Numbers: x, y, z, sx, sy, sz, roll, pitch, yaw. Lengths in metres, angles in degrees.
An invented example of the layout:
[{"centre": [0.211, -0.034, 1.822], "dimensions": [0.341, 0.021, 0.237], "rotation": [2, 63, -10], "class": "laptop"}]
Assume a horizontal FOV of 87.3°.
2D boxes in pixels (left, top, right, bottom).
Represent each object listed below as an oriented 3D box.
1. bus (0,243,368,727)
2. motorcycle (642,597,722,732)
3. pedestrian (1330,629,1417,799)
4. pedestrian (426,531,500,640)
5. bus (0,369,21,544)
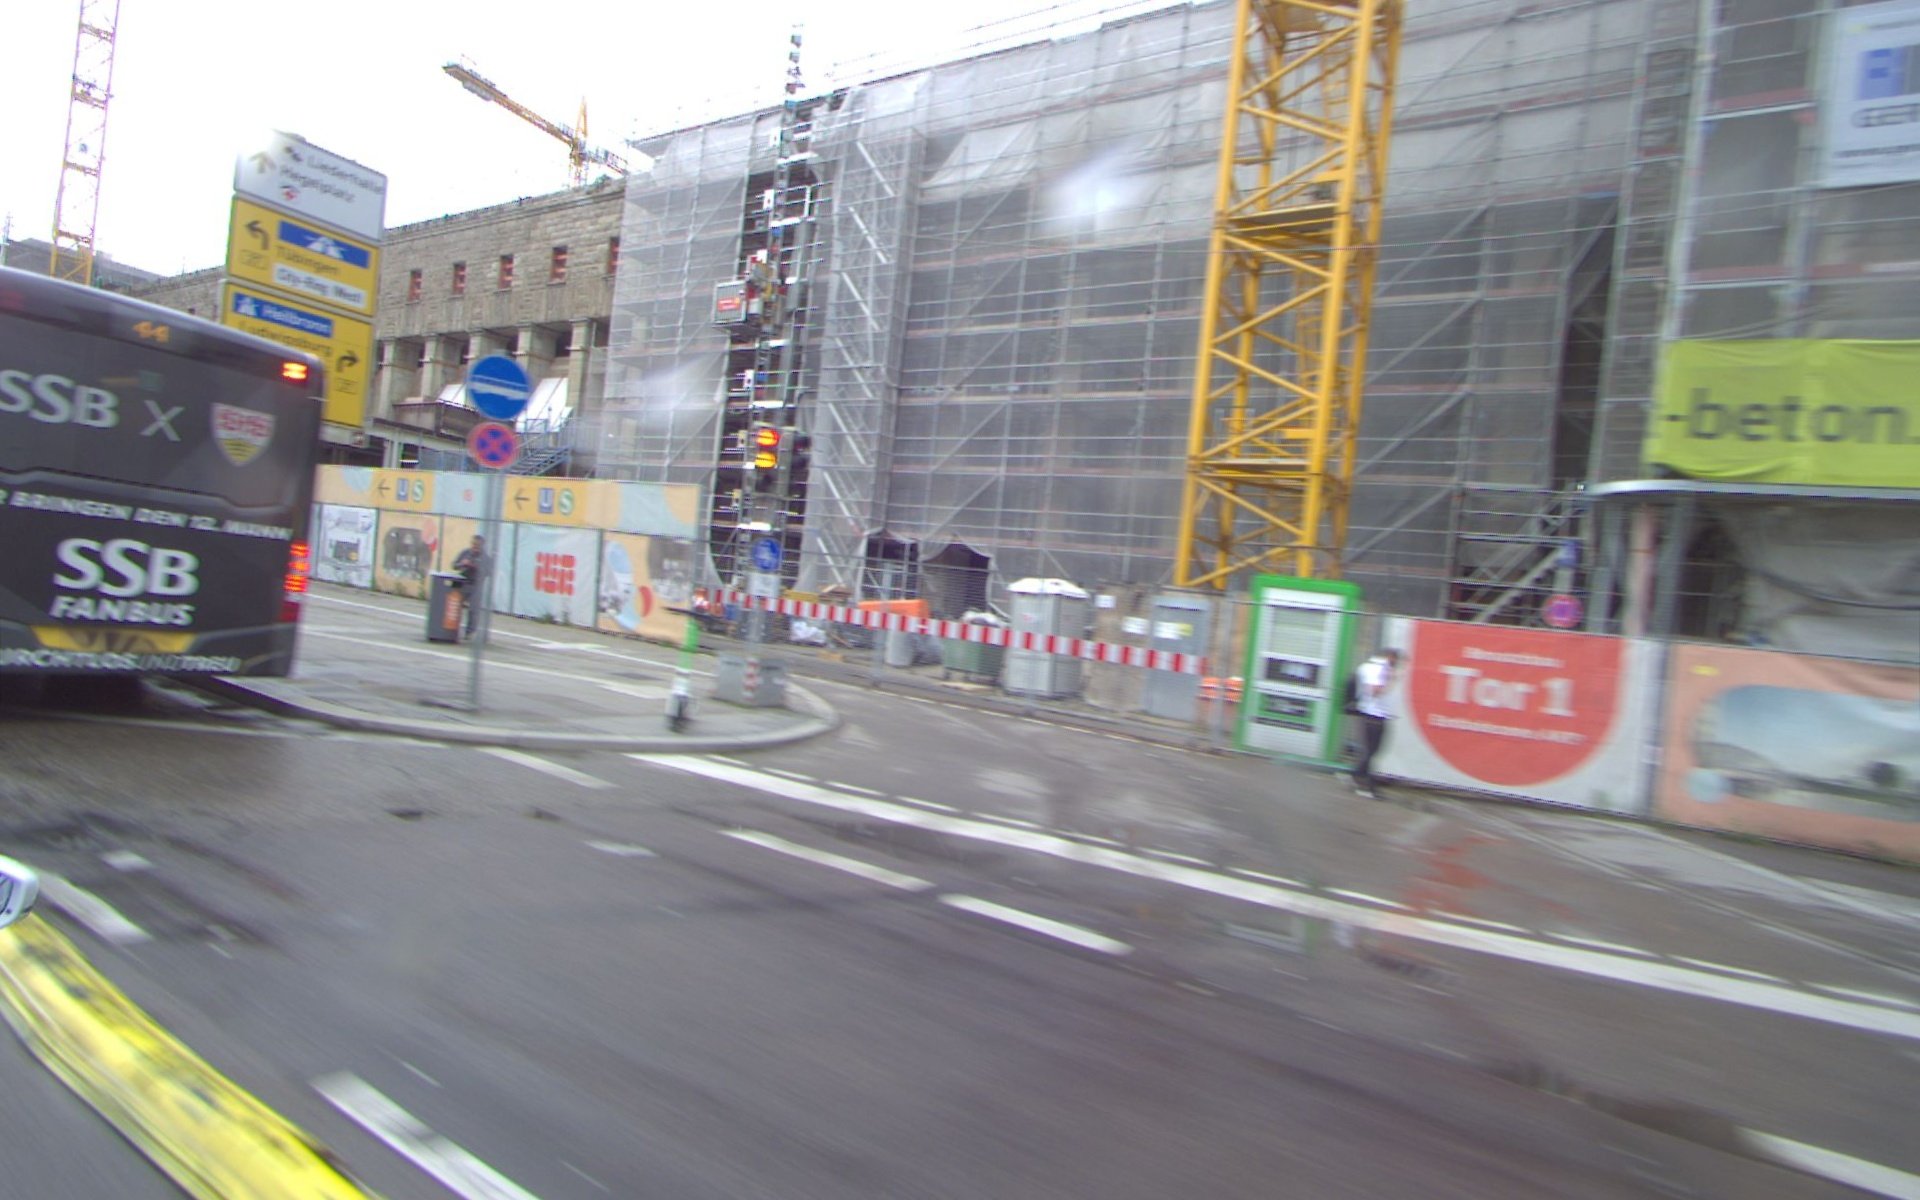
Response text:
[{"centre": [-9.531, -1.089, 9.607], "dimensions": [8.932, 3.105, 2.759], "rotation": [7, -1, 33], "class": "bus"}, {"centre": [-2.856, 0.612, 10.242], "dimensions": [0.578, 1.180, 1.611], "rotation": [7, -1, -18], "class": "motorcycle"}, {"centre": [4.861, 1.307, 11.819], "dimensions": [0.648, 1.873, 0.644], "rotation": [8, 4, 32], "class": "pedestrian"}, {"centre": [-8.186, -0.249, 16.552], "dimensions": [0.899, 1.655, 0.821], "rotation": [7, 1, -30], "class": "pedestrian"}, {"centre": [-16.935, -1.998, 14.480], "dimensions": [8.847, 3.102, 2.759], "rotation": [7, -1, 33], "class": "bus"}]
